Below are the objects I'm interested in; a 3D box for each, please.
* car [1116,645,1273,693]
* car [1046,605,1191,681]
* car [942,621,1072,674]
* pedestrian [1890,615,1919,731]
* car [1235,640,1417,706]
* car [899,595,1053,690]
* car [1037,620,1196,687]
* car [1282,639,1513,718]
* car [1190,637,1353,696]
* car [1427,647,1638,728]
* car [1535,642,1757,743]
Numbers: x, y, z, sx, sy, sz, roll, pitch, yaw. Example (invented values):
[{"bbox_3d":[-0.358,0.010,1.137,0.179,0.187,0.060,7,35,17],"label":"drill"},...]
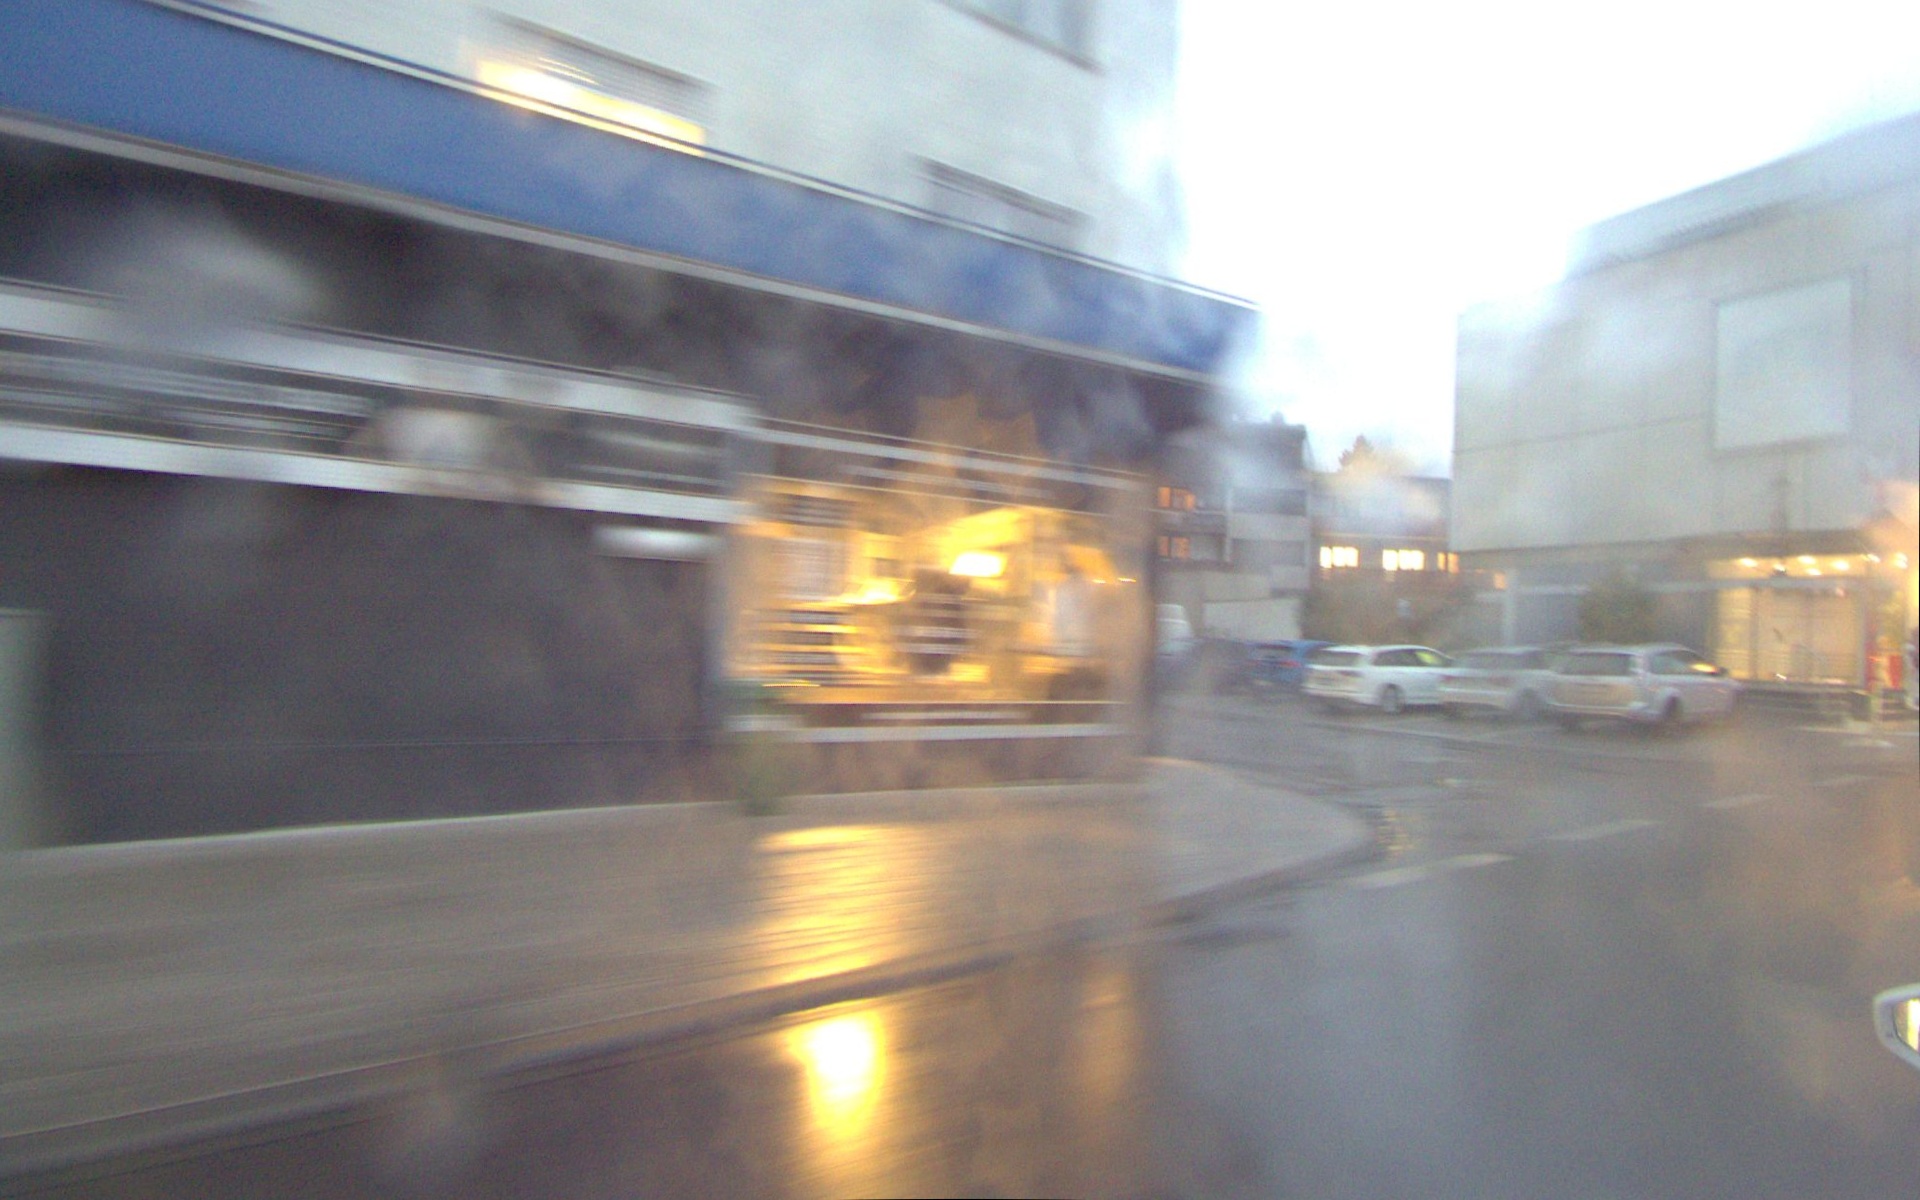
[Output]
[{"bbox_3d":[6.942,1.995,29.731,4.386,1.251,1.694,0,-1,-23],"label":"car"},{"bbox_3d":[5.646,1.474,35.588,5.097,2.525,1.691,0,-1,-28],"label":"car"},{"bbox_3d":[1.878,1.828,39.726,4.937,1.991,1.787,0,-1,-28],"label":"car"},{"bbox_3d":[16.780,1.249,17.395,0.963,1.964,1.195,0,-2,44],"label":"pedestrian"},{"bbox_3d":[9.220,1.776,25.264,4.389,1.483,1.693,0,-1,-25],"label":"car"},{"bbox_3d":[0.323,1.333,32.290,1.952,2.696,6.718,3,-3,-27],"label":"car"},{"bbox_3d":[5.062,1.656,32.232,5.101,1.990,1.690,0,-1,-30],"label":"car"},{"bbox_3d":[9.869,1.691,22.624,4.979,1.520,2.095,0,-1,-27],"label":"car"},{"bbox_3d":[8.777,1.828,28.270,4.389,1.483,1.693,0,-1,-25],"label":"car"},{"bbox_3d":[11.711,1.708,20.491,4.394,1.419,1.691,0,-1,-28],"label":"car"},{"bbox_3d":[12.369,1.561,18.032,4.402,1.520,1.754,1,-1,-33],"label":"car"}]
